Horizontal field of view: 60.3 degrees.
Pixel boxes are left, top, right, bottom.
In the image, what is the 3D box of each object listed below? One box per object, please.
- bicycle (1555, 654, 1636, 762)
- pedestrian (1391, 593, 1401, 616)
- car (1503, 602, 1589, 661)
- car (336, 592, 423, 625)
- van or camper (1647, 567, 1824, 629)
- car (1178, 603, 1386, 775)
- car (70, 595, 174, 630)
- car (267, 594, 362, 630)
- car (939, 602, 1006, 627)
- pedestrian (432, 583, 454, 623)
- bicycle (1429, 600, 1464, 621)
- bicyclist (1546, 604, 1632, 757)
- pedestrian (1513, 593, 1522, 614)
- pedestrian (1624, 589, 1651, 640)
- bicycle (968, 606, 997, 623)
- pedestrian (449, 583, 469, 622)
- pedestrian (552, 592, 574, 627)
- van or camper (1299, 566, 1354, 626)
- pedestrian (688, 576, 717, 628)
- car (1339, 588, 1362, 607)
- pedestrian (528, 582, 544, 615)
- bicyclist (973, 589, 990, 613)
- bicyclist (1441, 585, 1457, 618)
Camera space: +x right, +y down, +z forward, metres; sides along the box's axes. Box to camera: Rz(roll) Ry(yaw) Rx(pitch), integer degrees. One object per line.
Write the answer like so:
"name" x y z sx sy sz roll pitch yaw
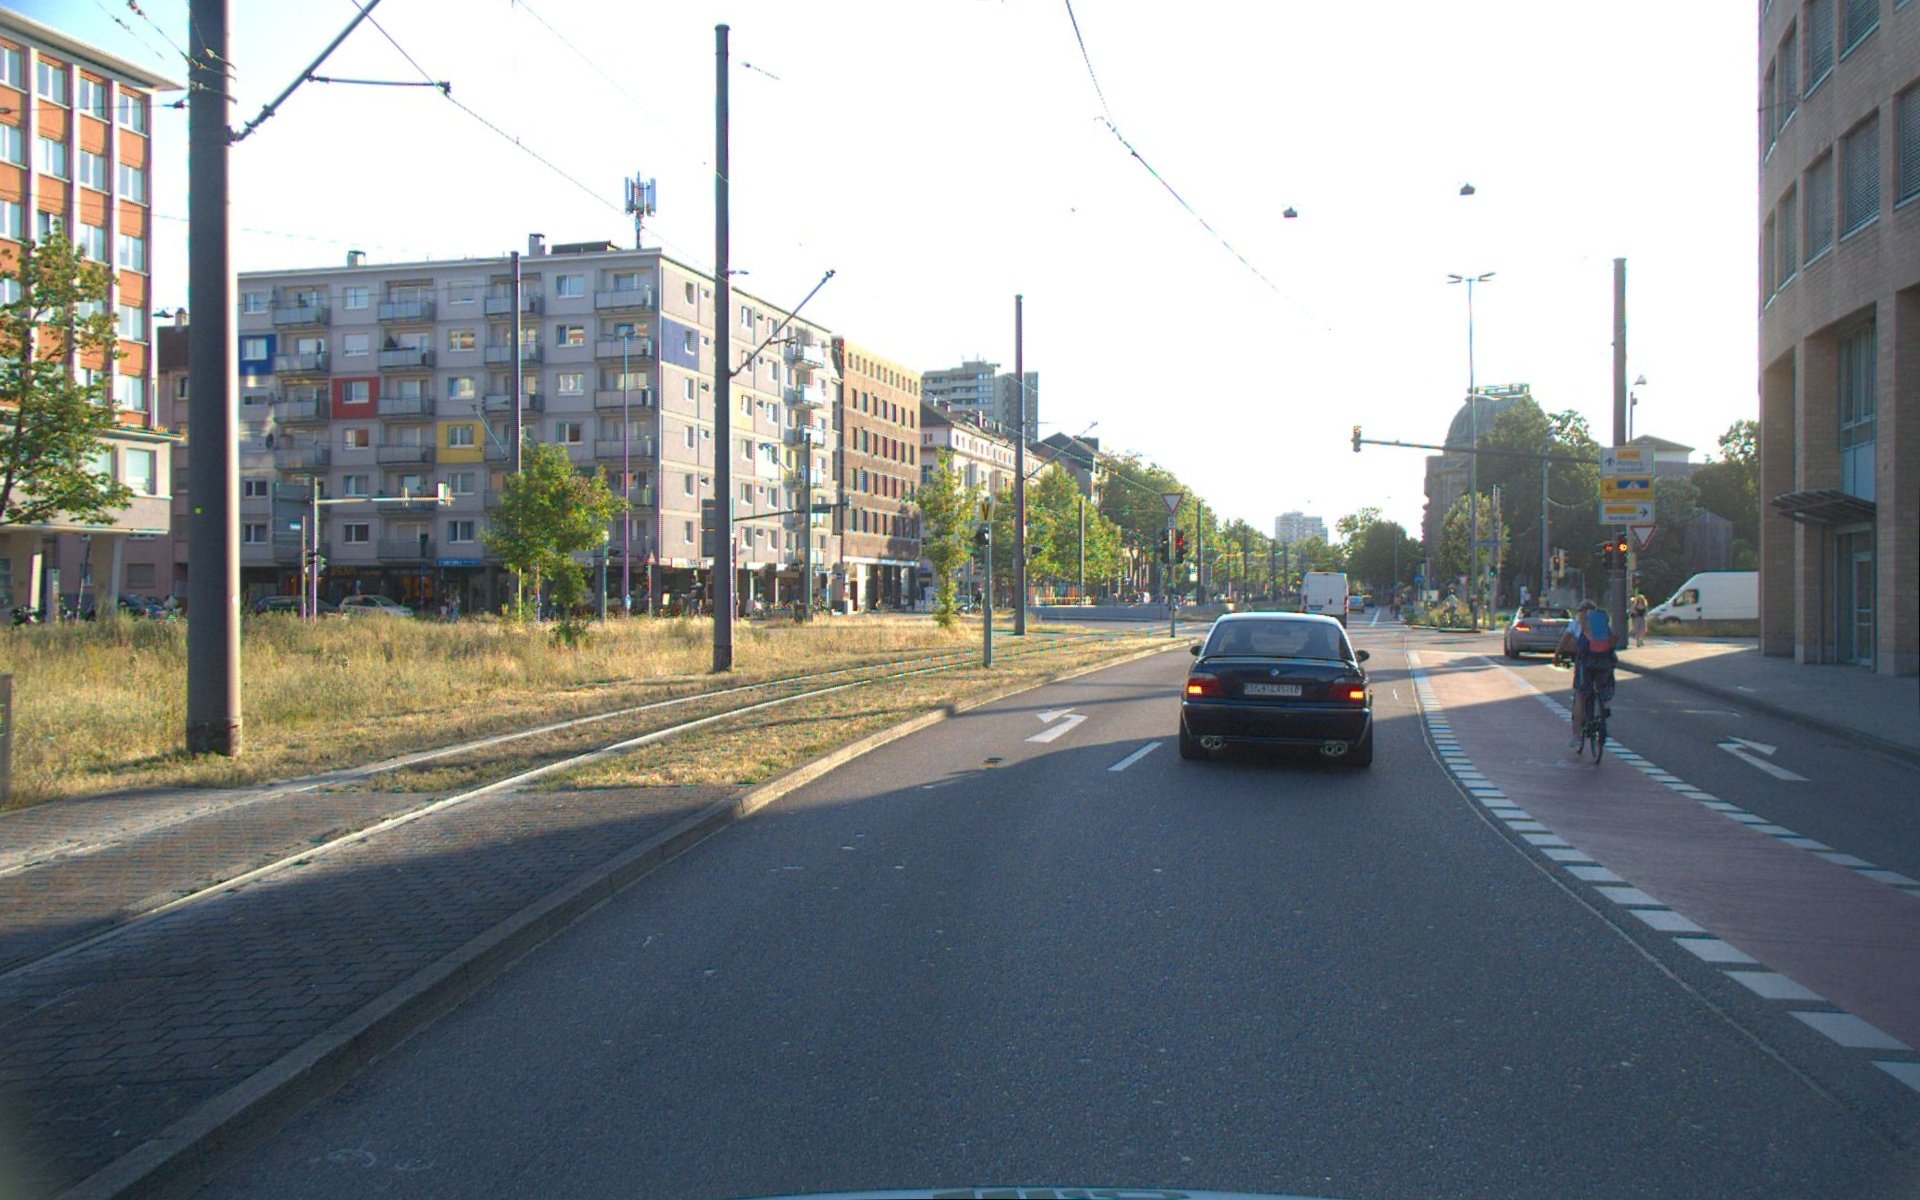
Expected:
"bicycle" 6.604 1.098 17.252 0.504 0.971 1.777 2 1 13
"pedestrian" 29.590 0.310 112.285 0.603 1.501 0.800 0 1 19
"car" 15.603 0.797 44.210 1.745 1.377 4.270 1 1 14
"car" -29.631 0.414 84.436 3.782 1.612 1.805 0 1 10
"van or camper" 34.789 -0.102 74.445 6.894 2.721 2.600 0 1 17
"car" 3.412 0.782 16.878 1.791 1.377 4.645 1 1 14
"car" -41.051 0.612 81.055 4.188 1.612 1.991 0 1 10
"car" -30.617 0.565 78.489 3.782 1.612 1.805 0 1 10
"car" 0.772 0.876 104.270 3.951 1.459 1.699 0 2 -34
"pedestrian" -24.976 0.138 79.910 0.690 1.884 0.737 0 1 15
"bicycle" 24.413 0.525 83.008 1.691 0.987 0.610 1 1 15
"bicyclist" 6.500 0.805 17.125 0.641 1.509 1.039 2 0 13
"pedestrian" 42.477 0.263 126.002 0.667 1.639 0.613 0 1 15
"pedestrian" 21.435 0.462 52.359 0.662 1.597 0.801 0 1 13
"bicycle" 1.377 0.903 101.799 1.717 0.986 0.694 1 3 -40
"pedestrian" -24.125 0.119 79.637 0.589 1.879 0.823 0 1 15
"pedestrian" -19.491 0.471 81.190 0.724 1.698 0.782 0 1 25
"van or camper" 16.869 -0.214 75.958 2.215 2.670 4.506 0 1 15
"pedestrian" -8.921 0.055 57.324 0.707 1.793 0.648 0 1 36
"car" 33.648 -0.219 142.701 1.756 1.593 4.004 0 1 11
"pedestrian" -20.995 -0.079 81.897 0.503 1.657 0.616 0 1 15
"bicyclist" 1.320 0.062 101.715 0.848 1.467 0.654 0 2 -39
"bicyclist" 24.525 0.073 82.971 0.780 1.599 0.664 0 1 15
